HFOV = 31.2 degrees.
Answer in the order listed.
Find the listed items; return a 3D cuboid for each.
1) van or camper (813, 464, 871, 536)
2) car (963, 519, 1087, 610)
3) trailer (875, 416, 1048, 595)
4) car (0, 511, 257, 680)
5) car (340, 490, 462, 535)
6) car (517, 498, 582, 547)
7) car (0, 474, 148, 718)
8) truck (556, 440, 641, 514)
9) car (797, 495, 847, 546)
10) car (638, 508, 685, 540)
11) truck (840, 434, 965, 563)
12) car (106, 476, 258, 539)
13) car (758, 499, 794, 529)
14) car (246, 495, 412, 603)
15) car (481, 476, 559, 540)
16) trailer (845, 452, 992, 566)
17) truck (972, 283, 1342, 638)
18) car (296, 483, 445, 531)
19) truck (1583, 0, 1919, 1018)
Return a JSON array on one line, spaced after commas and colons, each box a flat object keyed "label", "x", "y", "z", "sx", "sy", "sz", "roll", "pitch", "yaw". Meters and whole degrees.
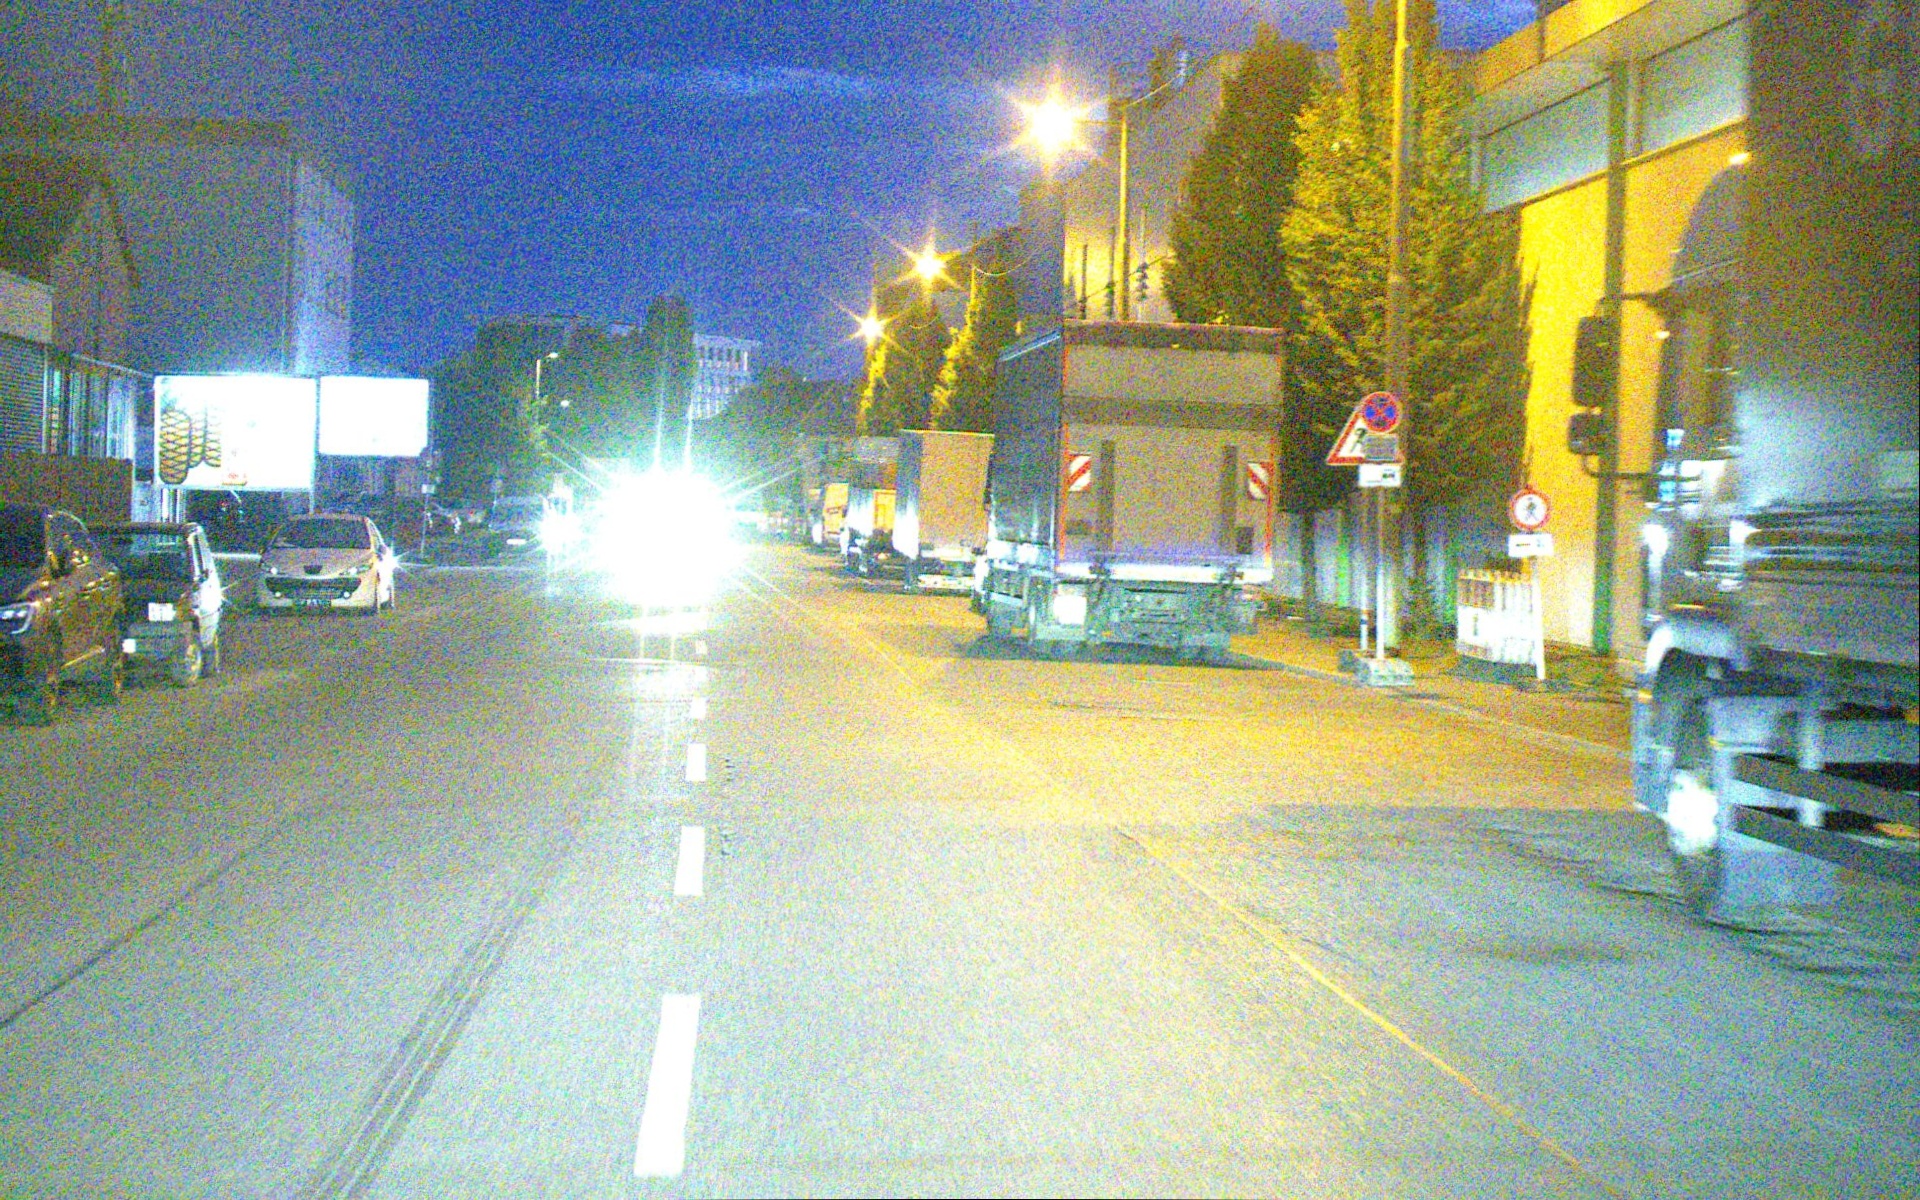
[{"label": "van or camper", "x": -4.451, "y": -3.743, "z": 129.154, "sx": 1.993, "sy": 2.572, "sz": 4.915, "roll": 2, "pitch": 1, "yaw": -3}, {"label": "car", "x": 1.095, "y": -0.629, "z": 59.604, "sx": 1.852, "sy": 1.514, "sz": 3.819, "roll": 0, "pitch": 1, "yaw": -3}, {"label": "trailer", "x": -0.062, "y": -1.955, "z": 72.221, "sx": 2.686, "sy": 3.452, "sz": 7.811, "roll": 2, "pitch": 1, "yaw": -6}, {"label": "car", "x": -7.386, "y": -0.085, "z": 30.766, "sx": 1.601, "sy": 1.349, "sz": 4.001, "roll": 2, "pitch": 1, "yaw": -4}, {"label": "car", "x": -20.515, "y": -3.202, "z": 126.173, "sx": 3.987, "sy": 1.589, "sz": 2.000, "roll": 0, "pitch": 1, "yaw": -30}, {"label": "car", "x": -15.175, "y": -2.889, "z": 127.341, "sx": 1.897, "sy": 1.730, "sz": 4.356, "roll": 2, "pitch": 1, "yaw": -1}, {"label": "car", "x": -7.392, "y": -0.106, "z": 25.377, "sx": 1.993, "sy": 1.631, "sz": 4.775, "roll": 2, "pitch": 1, "yaw": -5}, {"label": "truck", "x": -18.815, "y": -6.346, "z": 178.587, "sx": 3.889, "sy": 3.609, "sz": 8.262, "roll": 2, "pitch": 1, "yaw": -9}, {"label": "car", "x": -6.025, "y": -3.472, "z": 149.784, "sx": 1.993, "sy": 2.138, "sz": 4.001, "roll": 2, "pitch": 1, "yaw": -4}, {"label": "car", "x": -13.507, "y": -3.442, "z": 155.612, "sx": 1.993, "sy": 1.393, "sz": 4.001, "roll": 2, "pitch": 1, "yaw": -4}, {"label": "truck", "x": -1.657, "y": -2.779, "z": 95.634, "sx": 3.151, "sy": 3.451, "sz": 6.674, "roll": 0, "pitch": 1, "yaw": -4}, {"label": "car", "x": -22.198, "y": -2.651, "z": 98.155, "sx": 3.986, "sy": 1.645, "sz": 2.001, "roll": 2, "pitch": 1, "yaw": -6}, {"label": "car", "x": -10.729, "y": -5.011, "z": 199.945, "sx": 1.993, "sy": 1.678, "sz": 4.001, "roll": 2, "pitch": 1, "yaw": -4}, {"label": "car", "x": -8.989, "y": -0.750, "z": 49.215, "sx": 1.841, "sy": 1.415, "sz": 4.001, "roll": 2, "pitch": 1, "yaw": -4}, {"label": "car", "x": -13.008, "y": -2.735, "z": 101.739, "sx": 1.993, "sy": 1.787, "sz": 4.001, "roll": 2, "pitch": 1, "yaw": -4}, {"label": "trailer", "x": -1.180, "y": -2.291, "z": 88.514, "sx": 3.184, "sy": 2.739, "sz": 10.717, "roll": 0, "pitch": 1, "yaw": -4}, {"label": "truck", "x": 2.244, "y": -1.656, "z": 43.951, "sx": 3.520, "sy": 3.969, "sz": 10.344, "roll": 0, "pitch": 1, "yaw": -3}, {"label": "car", "x": -20.186, "y": -3.174, "z": 117.786, "sx": 4.612, "sy": 1.480, "sz": 2.001, "roll": 1, "pitch": 1, "yaw": -26}, {"label": "truck", "x": 4.366, "y": -0.697, "z": 10.584, "sx": 2.830, "sy": 3.969, "sz": 10.343, "roll": 0, "pitch": 1, "yaw": -1}]
